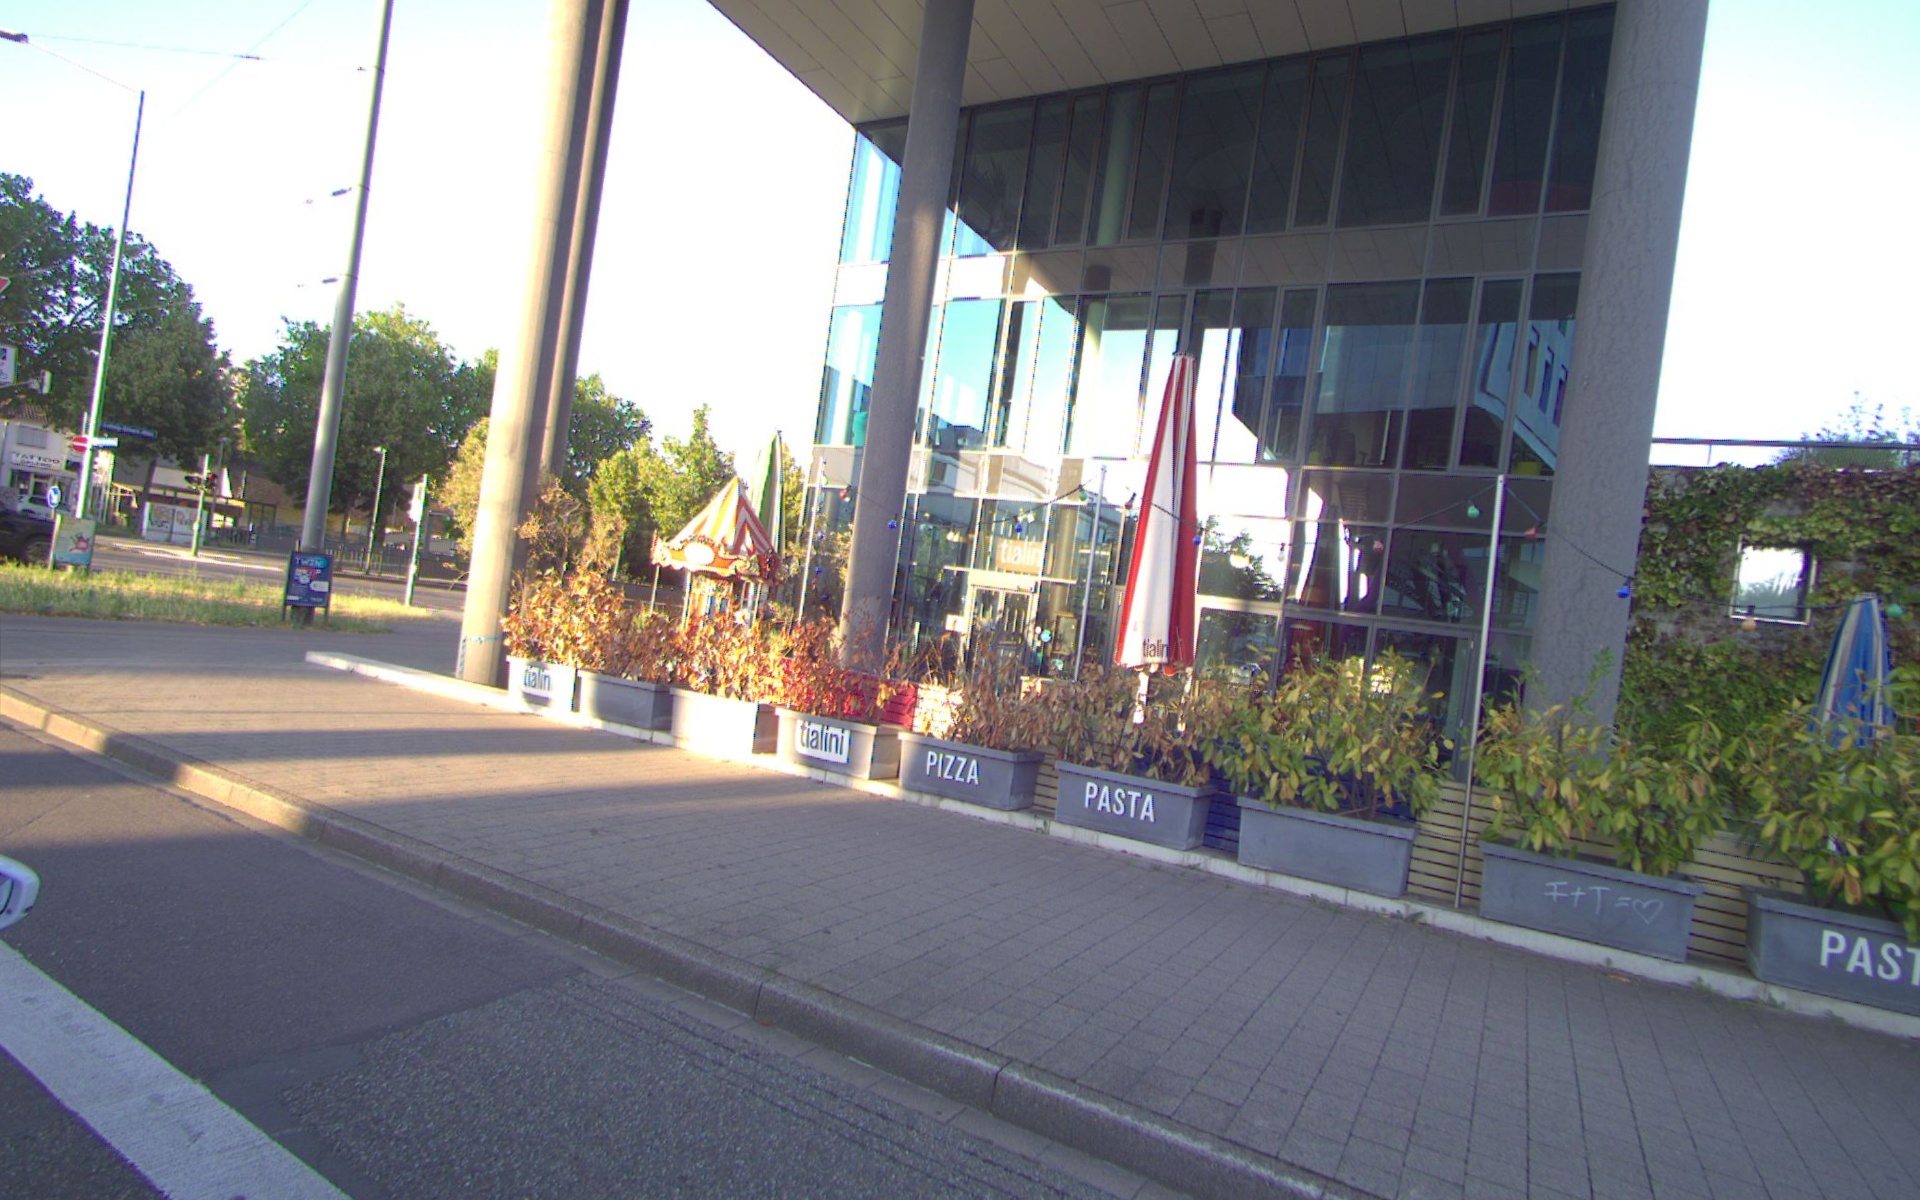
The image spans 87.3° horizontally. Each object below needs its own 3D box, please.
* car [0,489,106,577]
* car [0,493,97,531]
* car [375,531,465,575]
[{"bbox_3d":[-20.479,-1.599,20.296,1.966,1.592,4.444,7,-2,29],"label":"car"},{"bbox_3d":[-50.526,-4.879,55.809,1.641,1.456,3.736,6,-2,41],"label":"car"},{"bbox_3d":[-42.617,-3.695,79.527,2.197,2.581,5.594,7,-2,39],"label":"car"}]
